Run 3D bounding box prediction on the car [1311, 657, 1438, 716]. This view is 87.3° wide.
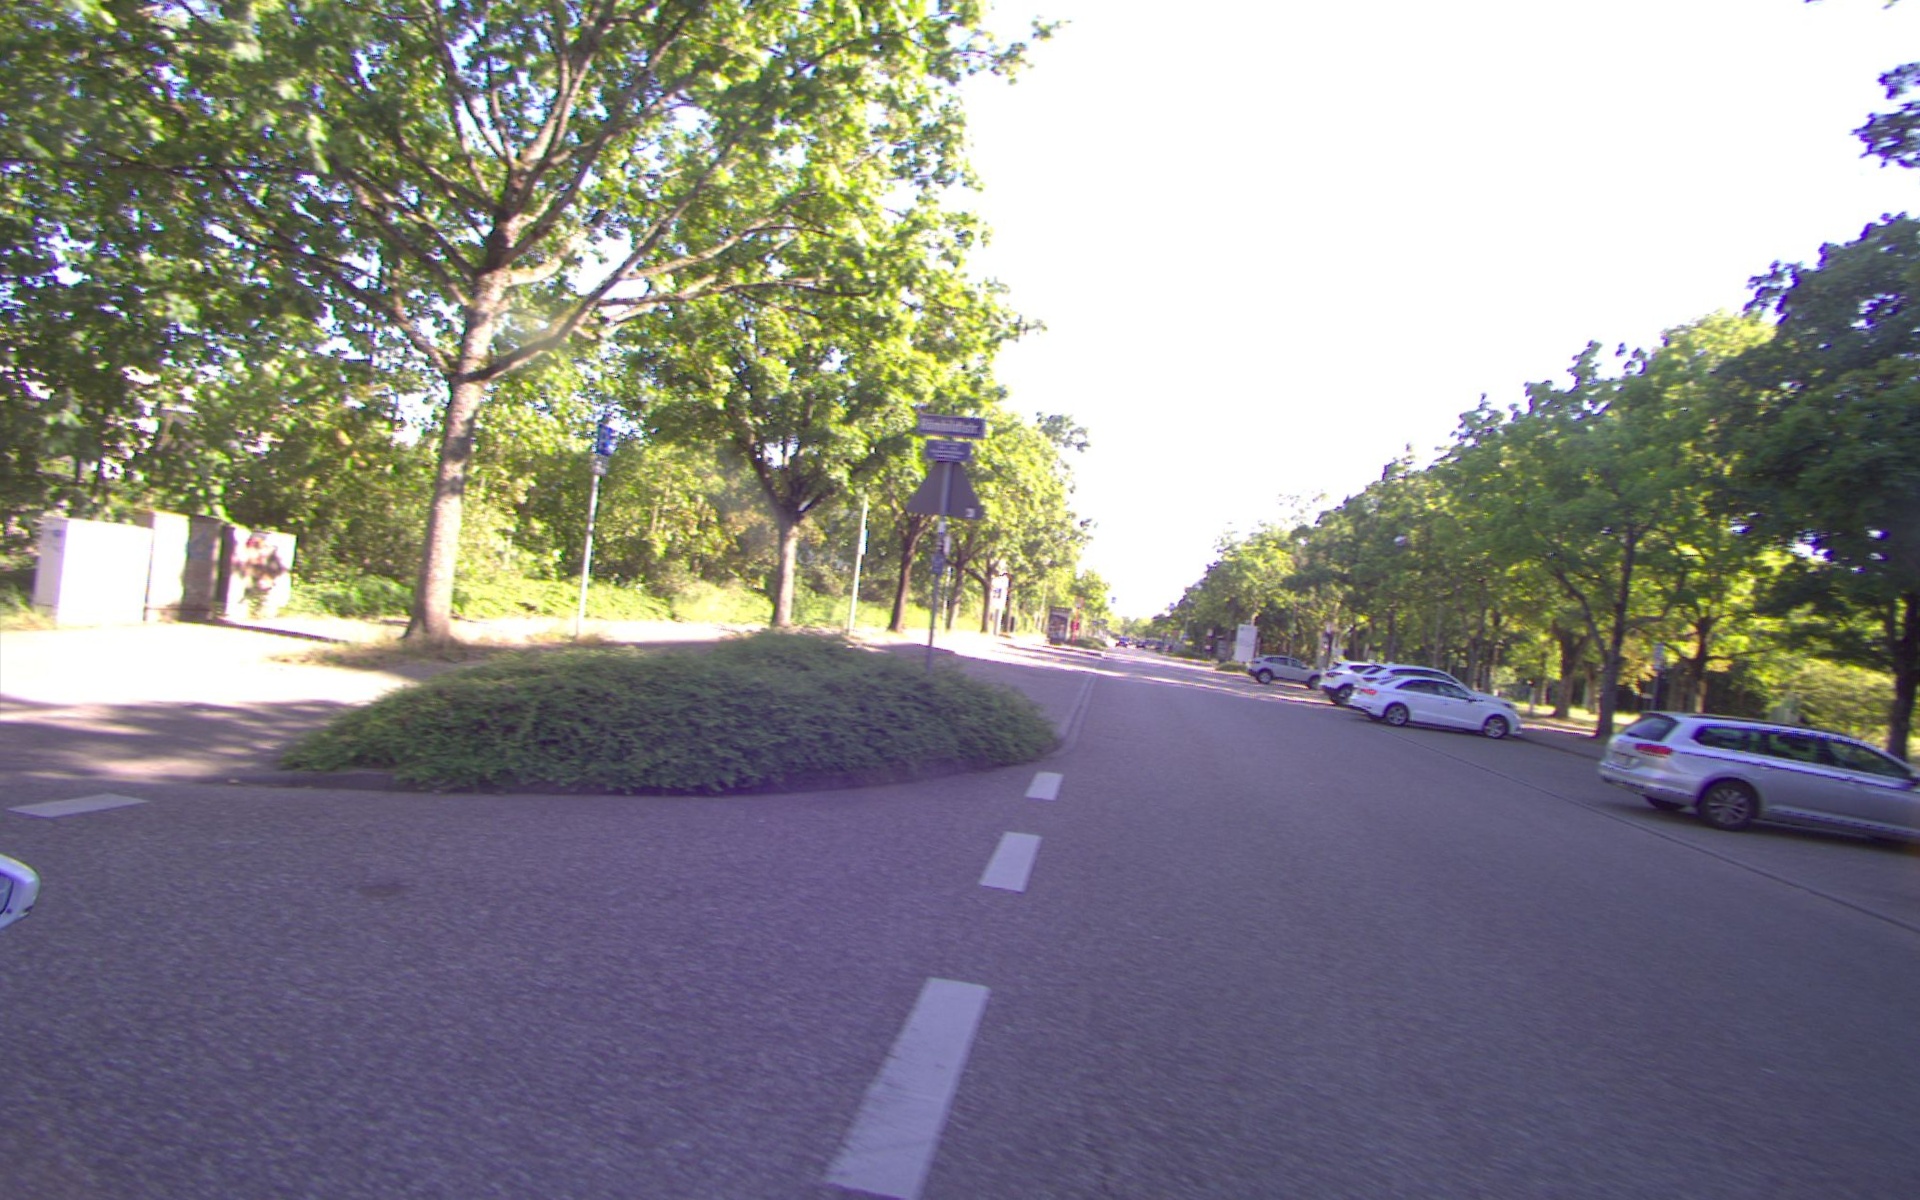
[{"bbox_3d":[14.287,2.963,34.822,3.630,1.541,1.651,5,0,7],"label":"car"}]

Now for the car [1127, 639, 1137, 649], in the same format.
[{"bbox_3d":[40.913,10.384,238.770,1.962,2.037,4.003,9,0,12],"label":"car"}]

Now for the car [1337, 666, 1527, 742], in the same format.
[{"bbox_3d":[12.834,2.801,27.572,4.273,1.508,1.739,6,0,7],"label":"car"}]

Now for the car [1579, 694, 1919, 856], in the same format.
[{"bbox_3d":[11.221,2.375,13.747,4.207,1.445,1.829,8,0,14],"label":"car"}]

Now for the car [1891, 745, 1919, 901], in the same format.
[{"bbox_3d":[11.164,2.363,8.880,3.923,1.469,1.718,6,0,9],"label":"car"}]

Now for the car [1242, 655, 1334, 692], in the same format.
[{"bbox_3d":[16.772,3.736,51.620,4.097,1.446,2.001,5,-1,9],"label":"car"}]

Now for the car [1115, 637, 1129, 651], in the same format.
[{"bbox_3d":[22.956,6.226,142.498,1.799,1.796,3.742,9,0,9],"label":"car"}]

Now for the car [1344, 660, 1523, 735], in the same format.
[{"bbox_3d":[14.061,2.879,30.109,4.364,1.668,1.817,5,0,7],"label":"car"}]

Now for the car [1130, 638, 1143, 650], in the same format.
[{"bbox_3d":[32.917,8.207,187.643,1.962,2.037,4.003,9,0,9],"label":"car"}]
